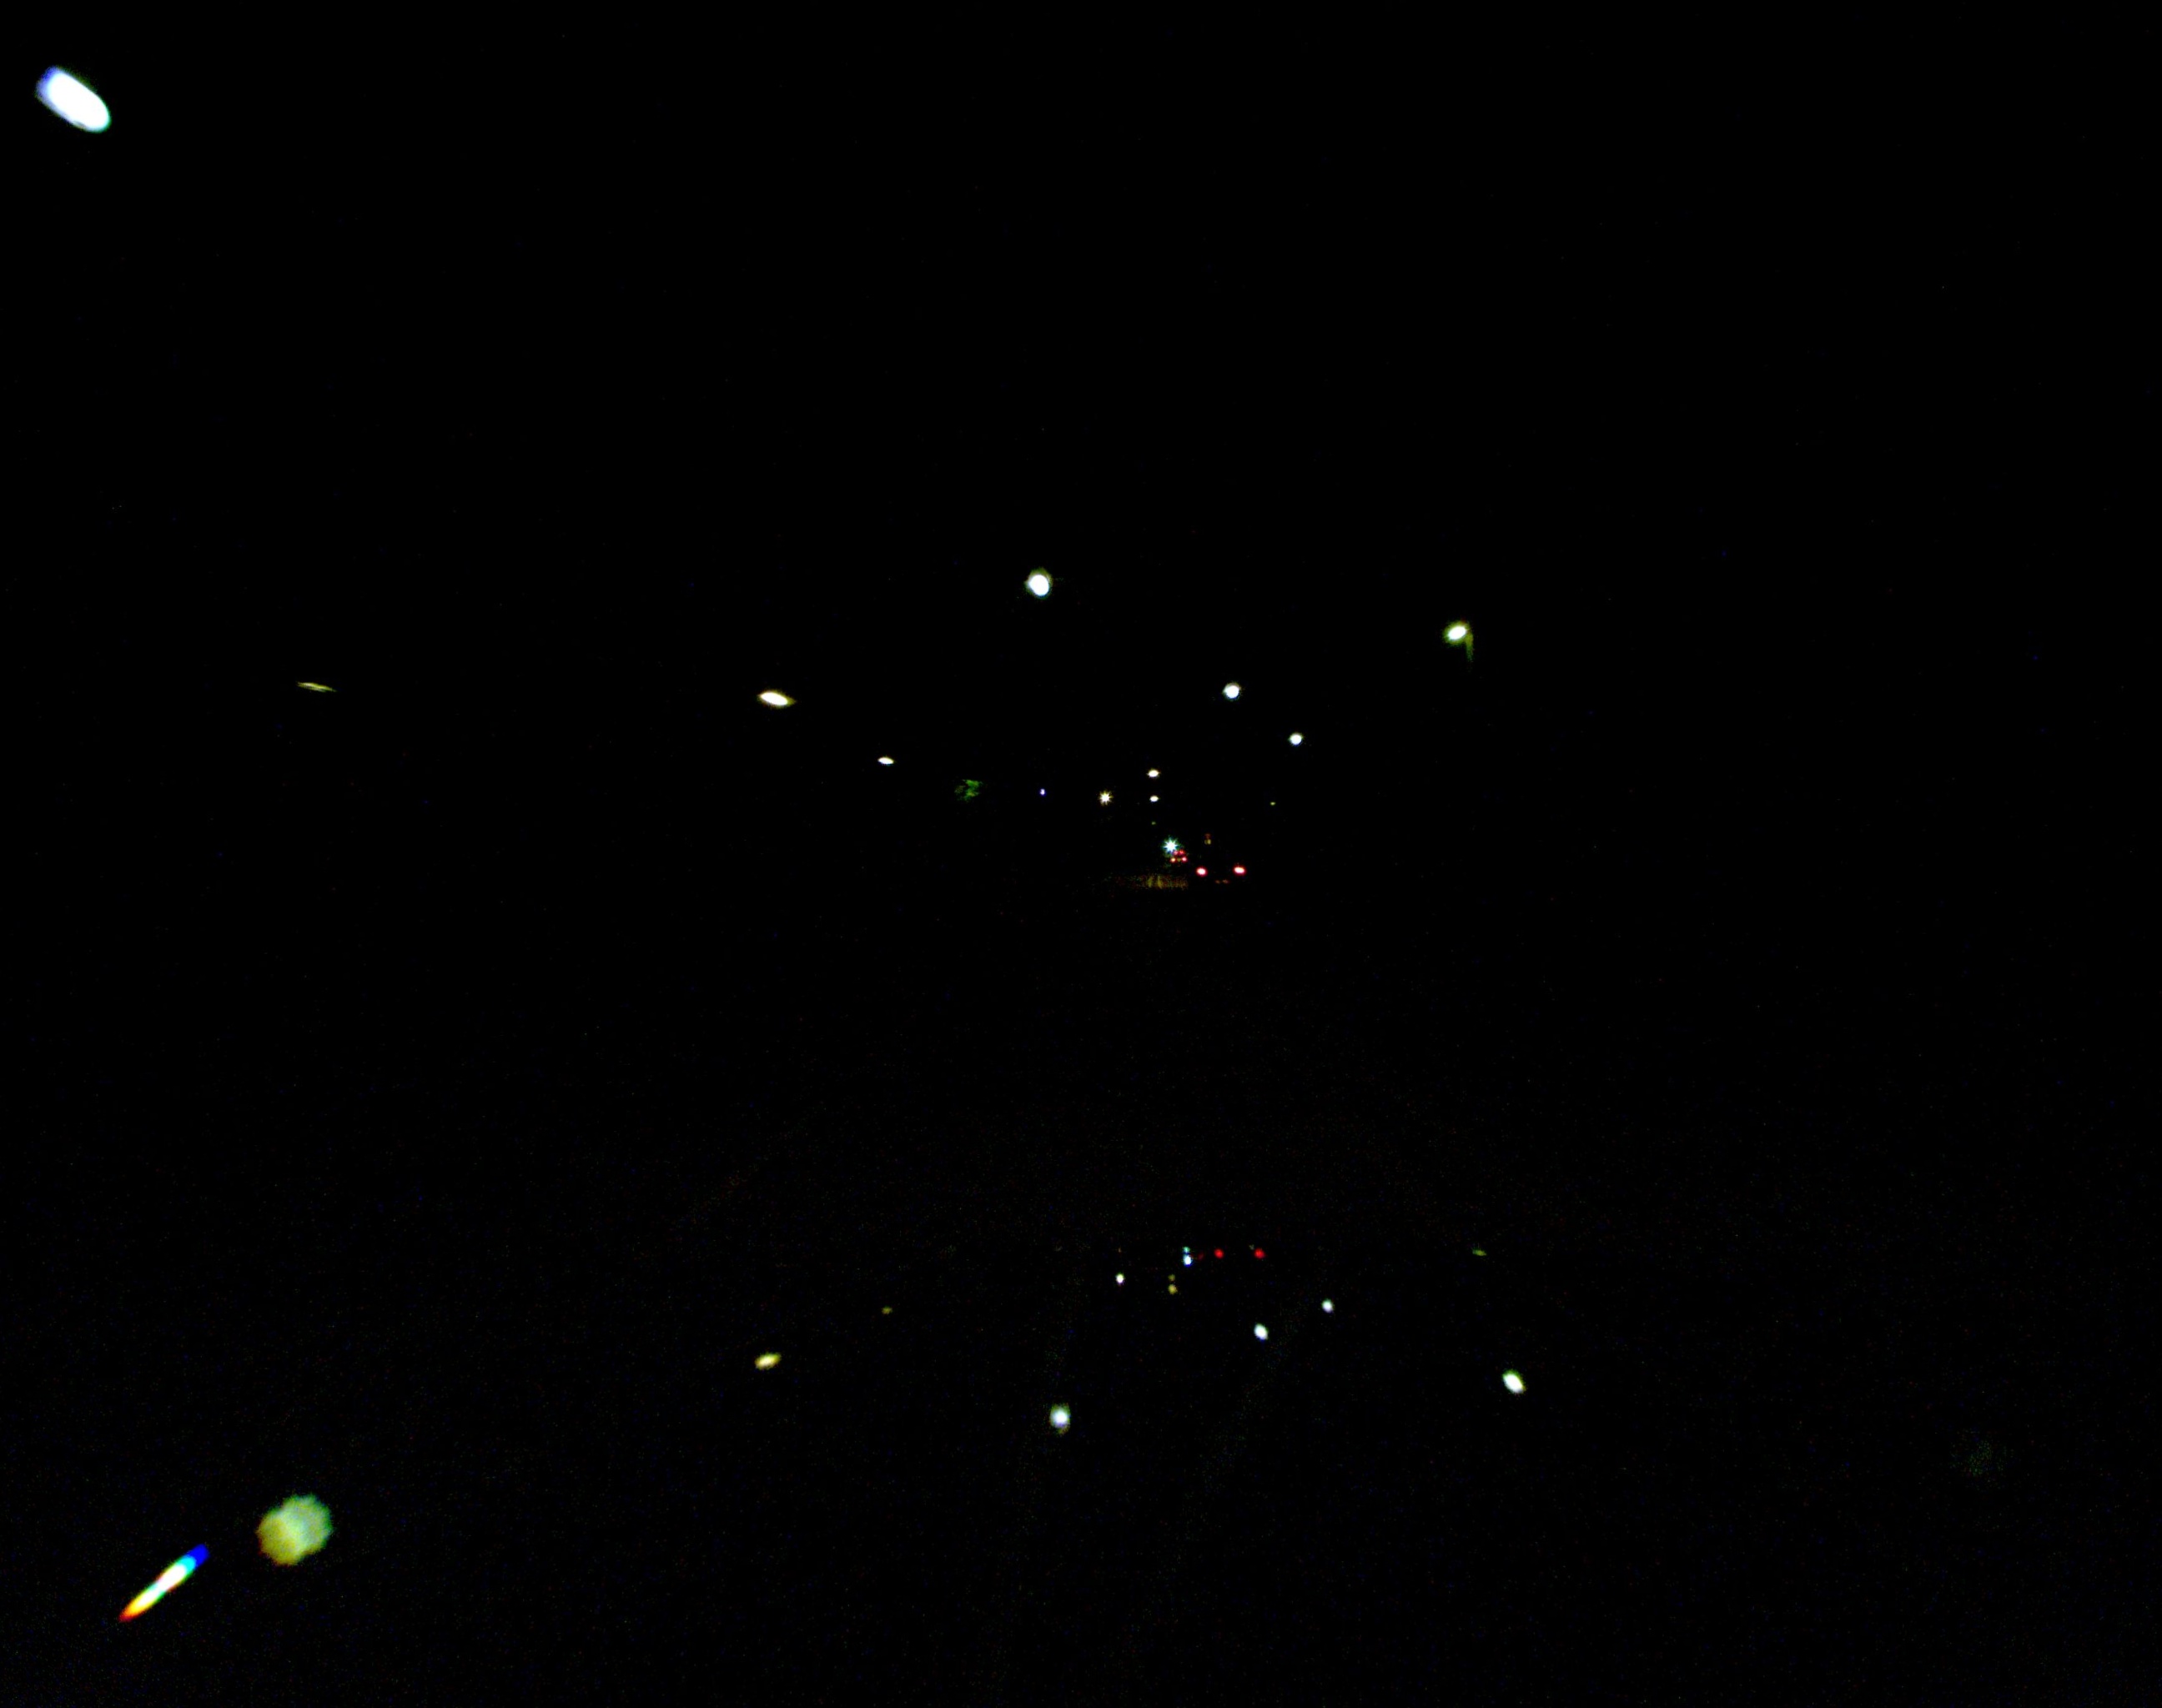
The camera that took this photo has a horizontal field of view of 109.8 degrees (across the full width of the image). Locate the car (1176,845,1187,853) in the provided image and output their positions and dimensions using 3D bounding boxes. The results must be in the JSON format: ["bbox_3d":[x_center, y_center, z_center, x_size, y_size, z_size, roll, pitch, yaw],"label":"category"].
[{"bbox_3d":[21.094,-1.043,158.746,1.885,1.545,4.221,-2,1,13],"label":"car"}]

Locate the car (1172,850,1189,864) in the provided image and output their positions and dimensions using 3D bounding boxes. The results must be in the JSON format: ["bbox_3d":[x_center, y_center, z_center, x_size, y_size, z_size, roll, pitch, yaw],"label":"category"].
[{"bbox_3d":[12.155,0.341,93.120,1.792,1.439,4.172,-3,1,5],"label":"car"}]

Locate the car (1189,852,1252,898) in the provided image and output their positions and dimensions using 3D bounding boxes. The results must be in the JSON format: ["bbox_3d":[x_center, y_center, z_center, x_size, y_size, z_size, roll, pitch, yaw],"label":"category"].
[{"bbox_3d":[5.065,0.724,28.119,1.863,1.501,4.001,-1,1,4],"label":"car"}]
